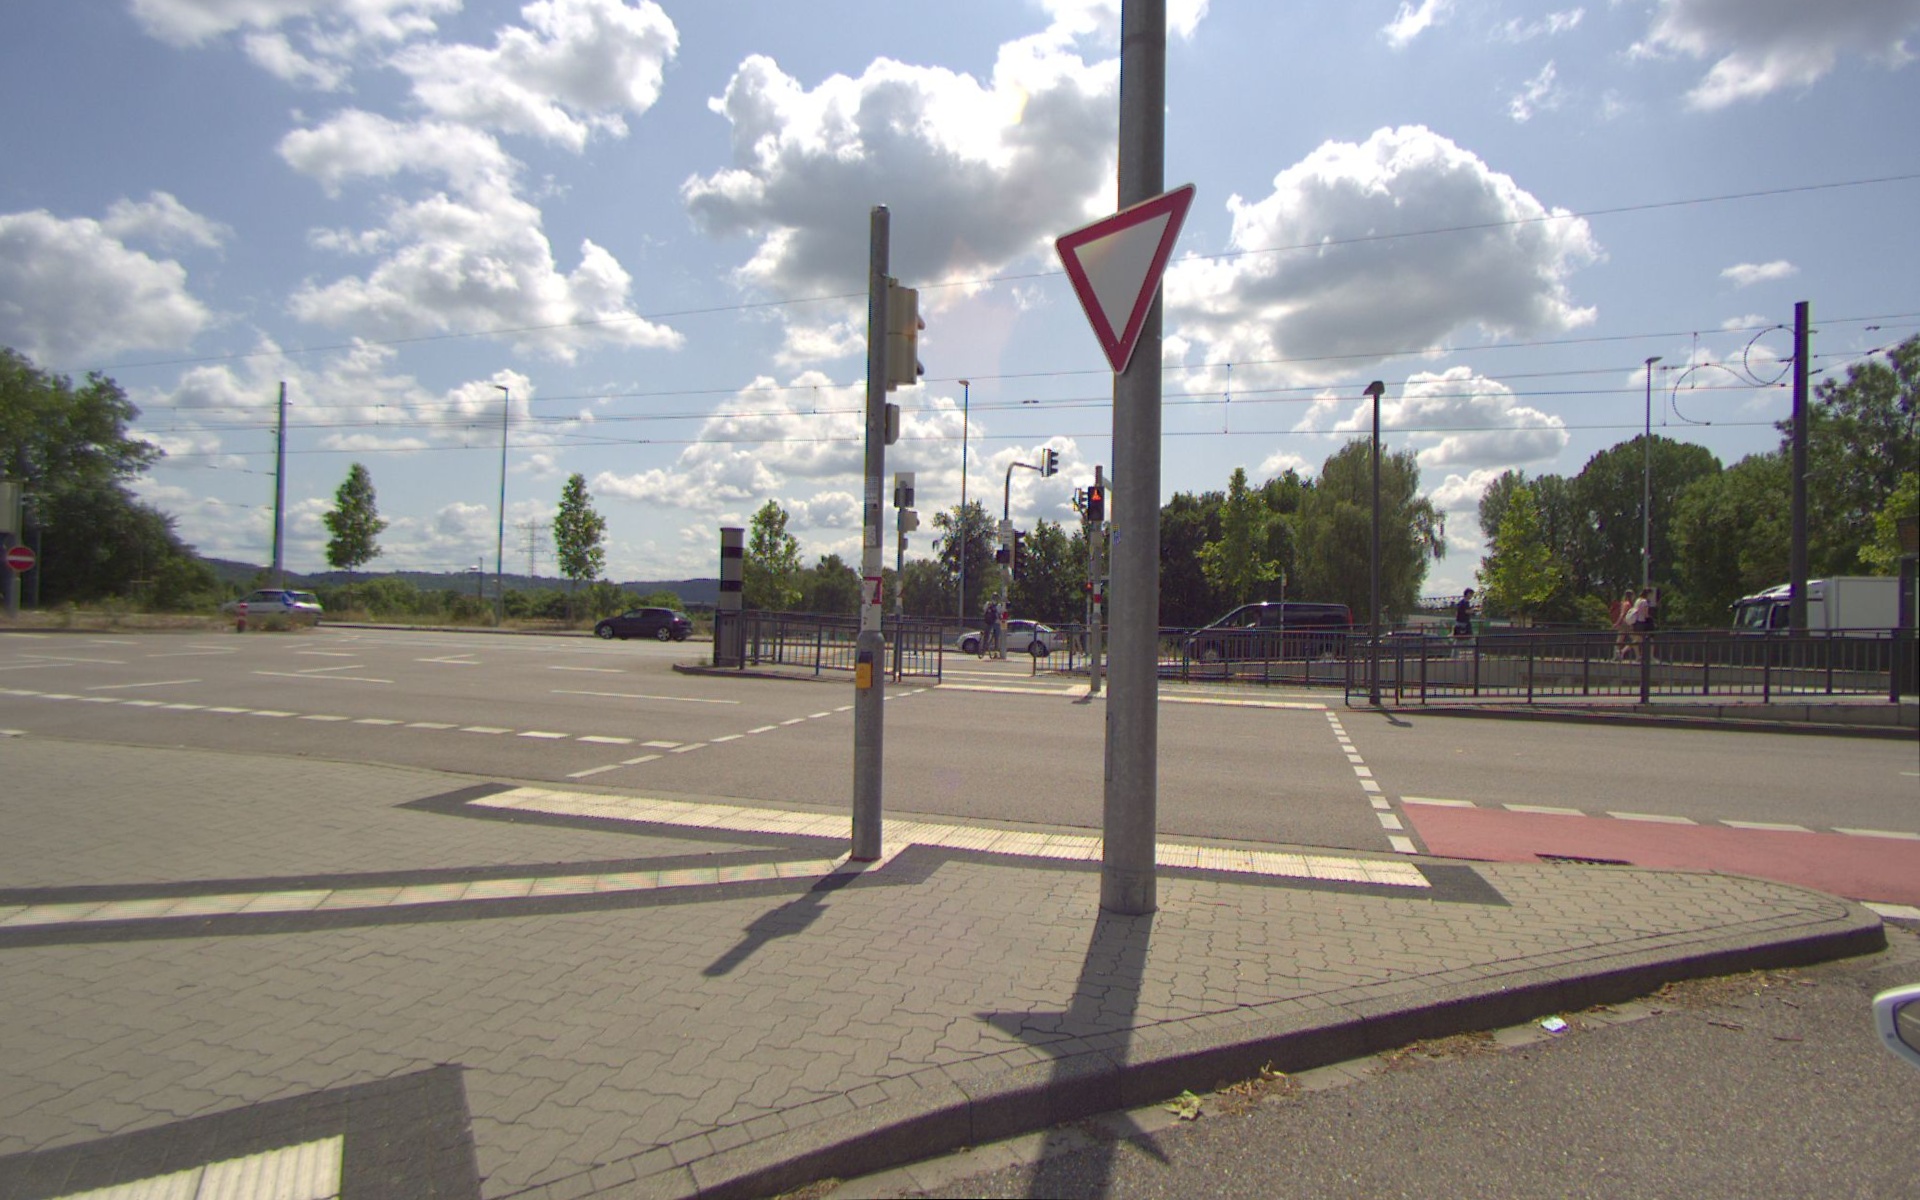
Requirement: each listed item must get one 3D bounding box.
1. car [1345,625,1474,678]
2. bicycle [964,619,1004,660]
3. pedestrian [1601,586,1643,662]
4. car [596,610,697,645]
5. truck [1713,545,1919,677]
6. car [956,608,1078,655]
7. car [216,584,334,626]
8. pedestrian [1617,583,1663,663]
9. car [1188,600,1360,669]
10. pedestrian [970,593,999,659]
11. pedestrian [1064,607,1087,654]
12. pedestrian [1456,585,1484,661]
[{"bbox_3d":[16.369,1.839,36.799,4.077,1.797,1.886,0,-1,16],"label":"car"},{"bbox_3d":[0.687,1.089,28.184,0.609,1.102,1.722,1,0,18],"label":"bicycle"},{"bbox_3d":[15.474,0.557,23.485,0.694,1.744,0.601,0,-1,19],"label":"pedestrian"},{"bbox_3d":[-13.532,1.165,43.405,3.813,1.427,1.671,1,0,9],"label":"car"},{"bbox_3d":[31.983,0.393,32.566,11.757,4.159,2.953,1,0,17],"label":"truck"},{"bbox_3d":[2.305,1.240,40.289,4.573,1.797,1.886,0,-1,16],"label":"car"},{"bbox_3d":[-31.203,0.232,45.805,4.234,1.679,1.816,1,-6,9],"label":"car"},{"bbox_3d":[15.369,0.496,22.714,0.664,1.772,0.637,1,1,19],"label":"pedestrian"},{"bbox_3d":[8.979,0.971,28.977,4.573,1.844,2.001,0,-1,16],"label":"car"},{"bbox_3d":[0.686,0.724,28.152,0.601,1.792,0.672,1,0,18],"label":"pedestrian"},{"bbox_3d":[5.107,1.345,44.289,0.964,2.040,0.903,0,-1,8],"label":"pedestrian"},{"bbox_3d":[11.987,0.536,23.622,0.514,1.744,0.730,0,-1,20],"label":"pedestrian"}]
